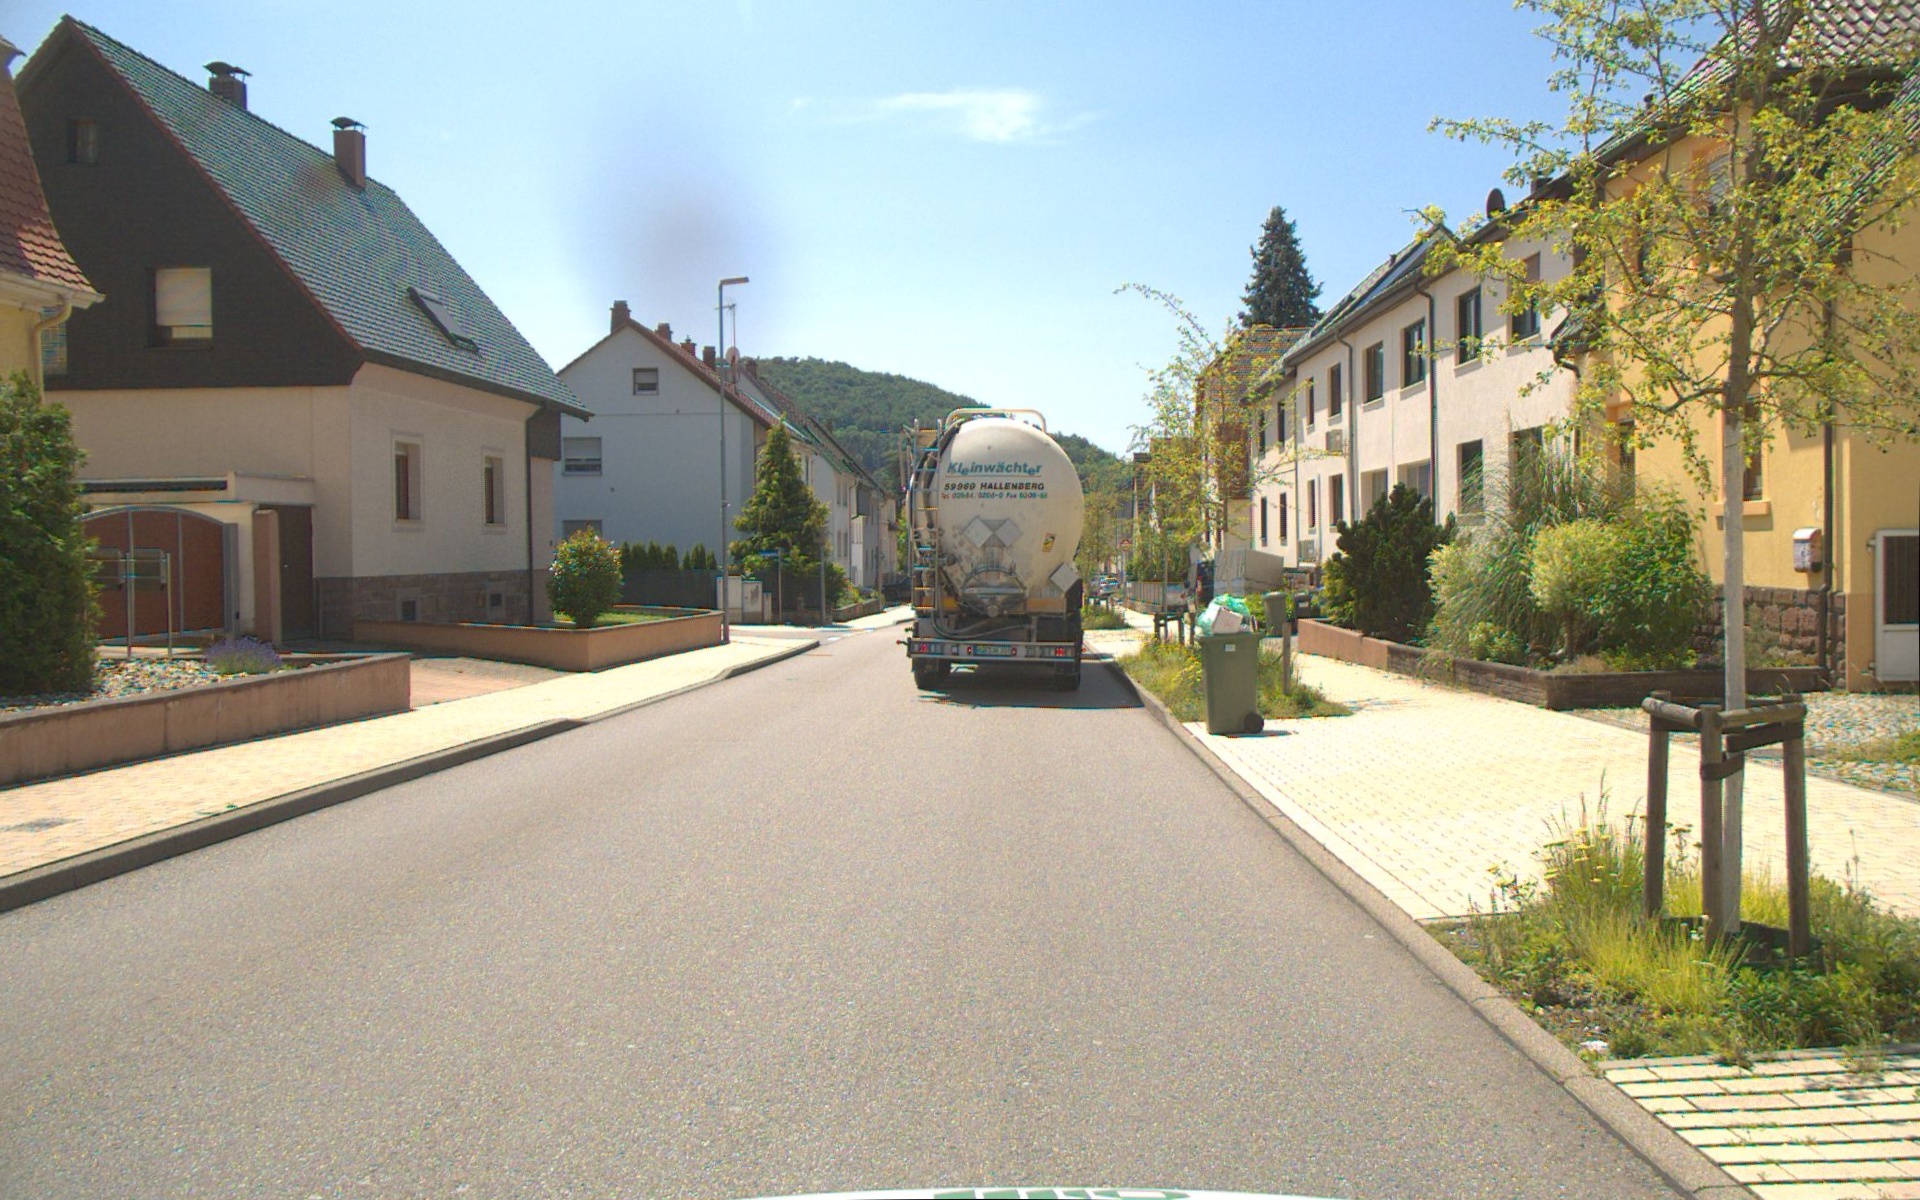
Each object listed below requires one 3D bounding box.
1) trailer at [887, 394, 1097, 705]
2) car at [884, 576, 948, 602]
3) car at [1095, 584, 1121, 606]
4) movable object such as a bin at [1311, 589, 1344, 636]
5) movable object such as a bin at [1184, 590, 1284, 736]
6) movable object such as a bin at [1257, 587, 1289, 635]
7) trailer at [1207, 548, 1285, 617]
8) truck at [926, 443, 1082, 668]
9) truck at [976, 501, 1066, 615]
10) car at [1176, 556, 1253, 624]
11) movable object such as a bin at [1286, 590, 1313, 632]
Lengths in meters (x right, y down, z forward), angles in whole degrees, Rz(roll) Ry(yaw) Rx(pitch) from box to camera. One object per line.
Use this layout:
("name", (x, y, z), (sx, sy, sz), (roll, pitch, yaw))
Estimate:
("trailer", (0.656, -0.756, 26.925), (2.738, 4.070, 10.328), (0, 1, 3))
("car", (-3.040, -0.777, 113.753), (4.303, 1.781, 1.878), (0, 1, 1))
("car", (11.037, -0.393, 123.637), (1.753, 1.568, 4.522), (-3, 0, 4))
("movable object such as a bin", (9.119, 0.304, 41.043), (0.670, 1.125, 0.863), (-4, 0, 9))
("movable object such as a bin", (2.831, 0.636, 17.170), (0.776, 1.419, 0.925), (-4, 0, 0))
("movable object such as a bin", (7.777, 0.279, 41.094), (0.669, 1.134, 0.813), (-4, 0, 8))
("trailer", (8.717, -0.531, 50.364), (1.302, 2.049, 2.258), (1, 0, 44))
("truck", (0.947, -0.845, 32.868), (2.750, 4.005, 6.101), (1, 1, 3))
("truck", (2.750, -1.920, 78.508), (3.830, 4.981, 9.796), (-1, 1, 0))
("car", (8.457, -0.342, 55.292), (1.814, 2.004, 4.775), (-6, 0, 2))
("movable object such as a bin", (8.460, 0.276, 41.196), (0.546, 1.003, 0.803), (-5, 0, 9))
